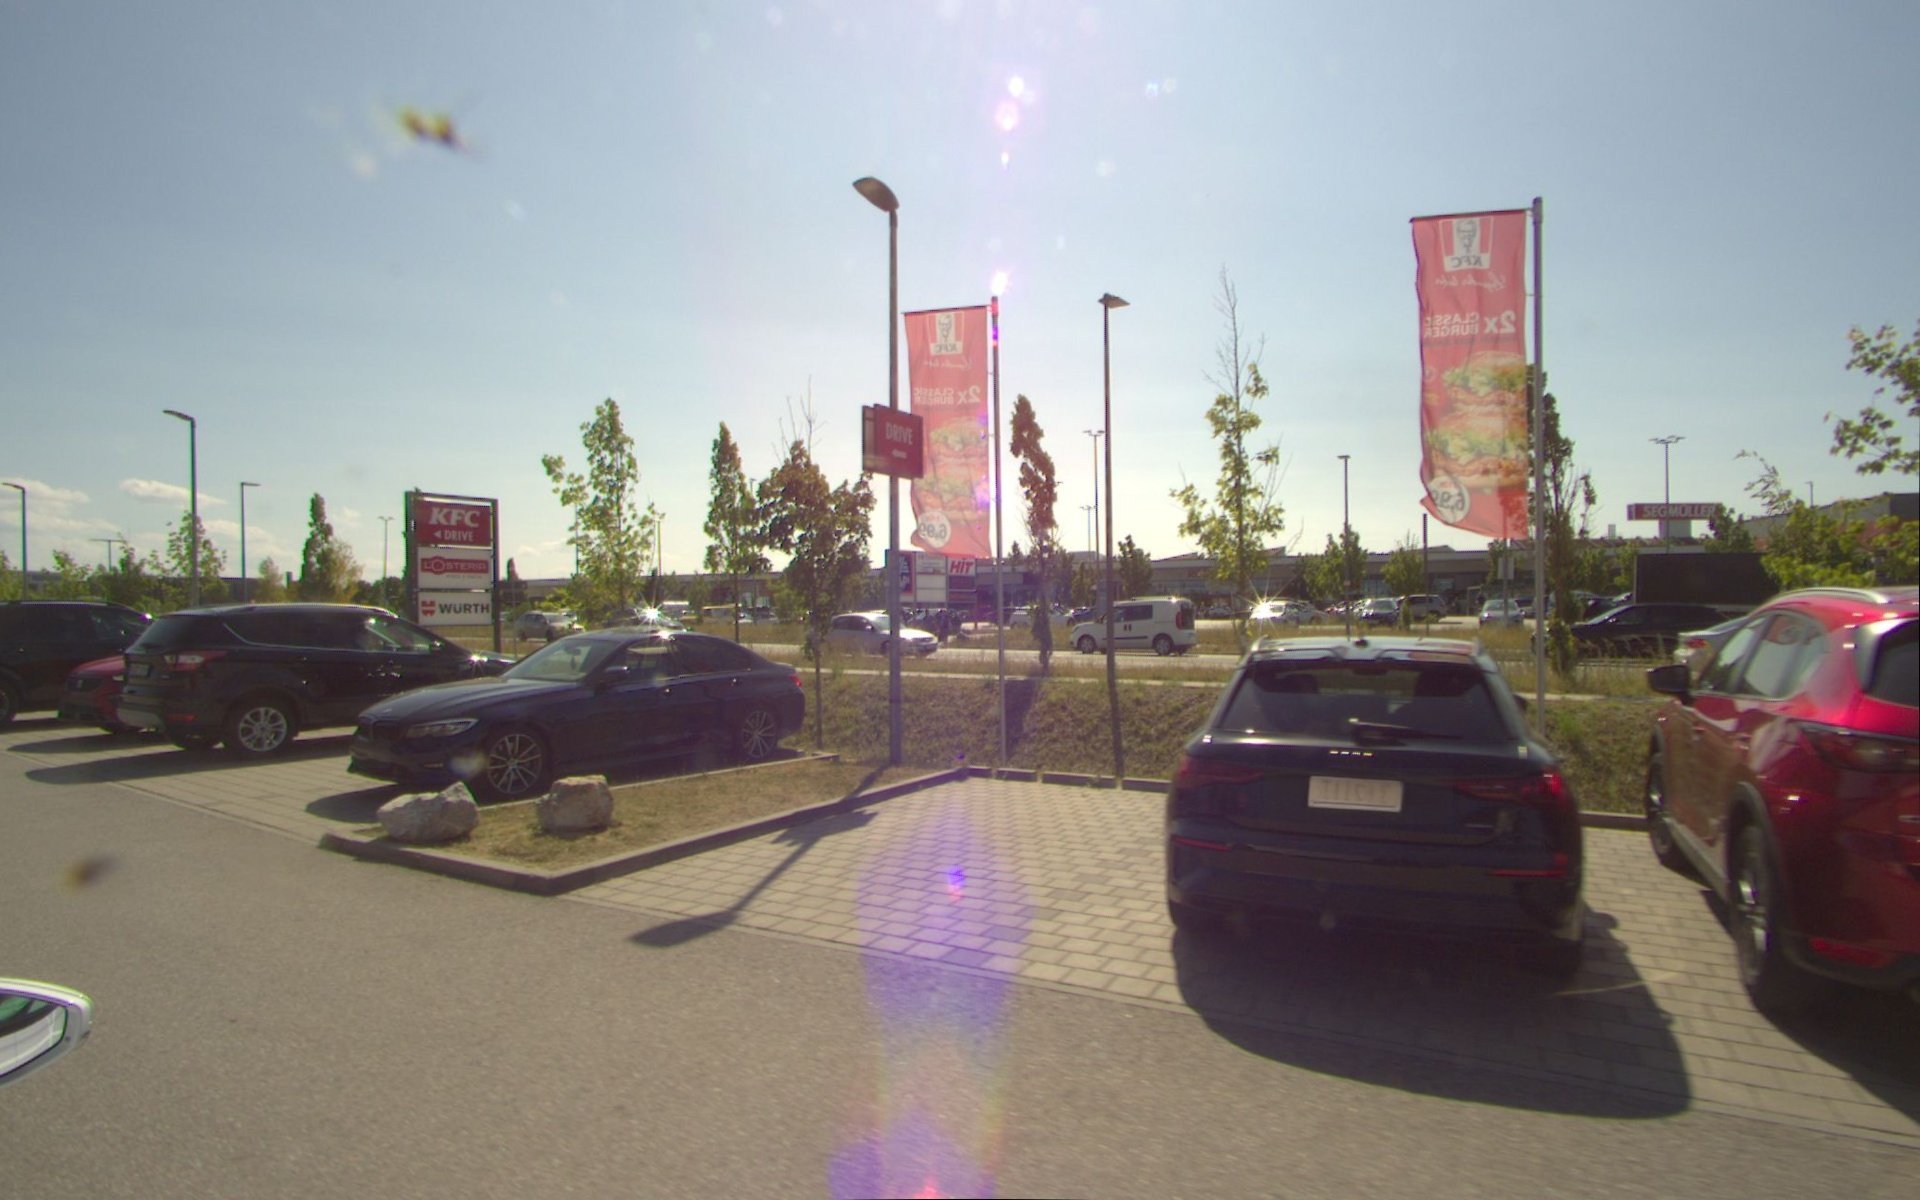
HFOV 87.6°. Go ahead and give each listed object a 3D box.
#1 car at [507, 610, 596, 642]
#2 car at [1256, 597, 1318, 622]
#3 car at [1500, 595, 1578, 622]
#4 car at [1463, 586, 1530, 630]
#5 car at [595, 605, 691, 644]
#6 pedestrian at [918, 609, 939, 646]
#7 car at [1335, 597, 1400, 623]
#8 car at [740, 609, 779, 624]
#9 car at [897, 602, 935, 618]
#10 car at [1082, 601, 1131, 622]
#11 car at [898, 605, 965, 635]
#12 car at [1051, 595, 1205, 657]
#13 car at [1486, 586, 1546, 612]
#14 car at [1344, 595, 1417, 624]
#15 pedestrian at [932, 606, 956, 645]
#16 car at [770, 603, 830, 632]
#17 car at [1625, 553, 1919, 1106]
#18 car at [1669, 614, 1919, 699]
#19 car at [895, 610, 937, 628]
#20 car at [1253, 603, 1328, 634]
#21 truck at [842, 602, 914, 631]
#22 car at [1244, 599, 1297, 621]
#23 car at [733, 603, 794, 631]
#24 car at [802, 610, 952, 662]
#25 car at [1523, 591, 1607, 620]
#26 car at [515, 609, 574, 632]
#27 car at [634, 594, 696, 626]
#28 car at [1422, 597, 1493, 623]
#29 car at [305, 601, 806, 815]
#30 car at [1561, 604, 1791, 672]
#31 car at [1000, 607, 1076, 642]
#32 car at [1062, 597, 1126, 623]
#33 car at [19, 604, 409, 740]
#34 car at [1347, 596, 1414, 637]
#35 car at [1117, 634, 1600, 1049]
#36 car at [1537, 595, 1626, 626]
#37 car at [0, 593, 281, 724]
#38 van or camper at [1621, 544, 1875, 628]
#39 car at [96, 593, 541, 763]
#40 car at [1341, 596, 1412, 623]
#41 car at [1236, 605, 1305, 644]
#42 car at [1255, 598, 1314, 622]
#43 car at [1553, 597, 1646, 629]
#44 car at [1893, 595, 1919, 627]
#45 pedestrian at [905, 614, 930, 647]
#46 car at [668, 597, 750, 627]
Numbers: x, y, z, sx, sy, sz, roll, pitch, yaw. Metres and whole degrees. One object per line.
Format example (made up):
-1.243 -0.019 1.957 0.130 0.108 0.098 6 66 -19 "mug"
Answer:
-20.818 1.287 51.013 4.592 1.524 1.989 0 0 34 "car"
24.599 0.706 75.458 4.323 1.880 1.953 0 0 15 "car"
40.773 0.580 70.608 4.323 1.880 1.953 0 0 15 "car"
24.323 0.381 45.323 1.931 1.880 4.374 0 -1 38 "car"
-14.538 1.082 45.802 4.542 1.686 1.867 0 0 36 "car"
-1.336 1.162 42.738 0.659 1.576 0.621 0 0 41 "pedestrian"
30.985 0.752 76.268 4.323 1.880 1.953 0 0 15 "car"
-19.741 1.643 98.569 3.420 1.418 1.431 0 0 14 "car"
-4.249 0.976 96.914 3.409 1.572 1.666 0 0 10 "car"
13.790 1.066 94.028 4.323 1.880 1.953 0 0 15 "car"
-1.791 1.307 64.919 1.973 1.870 4.704 0 -1 35 "car"
5.684 0.856 34.014 4.816 1.980 1.872 0 0 27 "car"
44.758 -0.042 80.692 3.928 2.040 1.997 0 0 18 "car"
28.607 0.643 68.304 4.323 1.880 1.953 0 0 15 "car"
-0.662 1.081 42.173 0.748 1.621 0.687 0 0 41 "pedestrian"
-11.612 1.236 72.741 1.975 2.040 4.062 0 0 38 "car"
4.473 0.739 4.558 1.920 1.659 4.217 0 -2 27 "car"
17.097 1.067 19.945 4.584 1.547 1.992 0 0 28 "car"
-3.890 1.648 89.009 3.409 1.572 1.666 0 0 10 "car"
20.682 1.165 62.821 4.323 1.880 1.953 0 0 15 "car"
-5.554 1.140 68.374 1.973 1.888 5.401 0 -1 34 "truck"
27.503 0.883 88.815 4.322 1.880 1.954 0 0 13 "car"
-14.972 1.276 76.608 1.967 2.040 5.164 0 -1 24 "car"
-2.706 1.097 32.046 4.593 1.547 1.988 0 0 35 "car"
39.611 0.378 65.627 4.323 1.880 1.953 0 0 15 "car"
-38.138 1.895 92.145 1.967 2.040 5.061 0 -1 24 "car"
-23.750 0.827 80.880 1.967 2.487 5.061 0 0 24 "car"
36.366 0.747 73.319 4.323 1.880 1.953 0 0 15 "car"
-3.767 0.907 10.134 1.870 1.659 4.426 -1 -2 34 "car"
18.661 0.940 26.431 4.735 1.646 1.990 0 0 31 "car"
4.296 1.314 54.728 1.976 1.870 4.374 0 -1 39 "car"
9.914 0.735 73.903 4.489 1.880 1.953 0 0 15 "car"
-10.359 0.923 14.293 1.864 1.629 4.071 0 -1 24 "car"
20.334 0.773 48.333 1.931 1.880 4.374 0 -1 38 "car"
2.330 0.924 5.796 1.744 1.428 4.194 0 -2 25 "car"
38.941 0.635 62.825 4.323 1.880 1.953 0 0 15 "car"
-13.204 0.837 15.087 1.868 1.783 4.567 -1 -2 32 "car"
32.376 -0.485 41.506 2.394 3.142 7.983 0 0 -41 "van or camper"
-7.720 0.855 12.496 1.869 1.724 4.310 -1 -2 33 "car"
29.314 0.674 70.588 4.323 1.880 1.953 0 0 15 "car"
15.870 1.222 51.040 1.975 1.880 4.256 0 -1 38 "car"
26.061 0.777 80.642 4.322 1.880 1.954 0 0 13 "car"
38.206 0.778 59.934 4.323 1.880 1.953 0 0 15 "car"
57.909 0.650 58.593 4.323 1.880 2.046 0 0 15 "car"
-1.836 1.334 43.523 0.716 1.416 0.860 -1 -1 32 "pedestrian"
-19.737 0.921 79.088 2.773 2.266 6.287 0 -1 28 "car"
